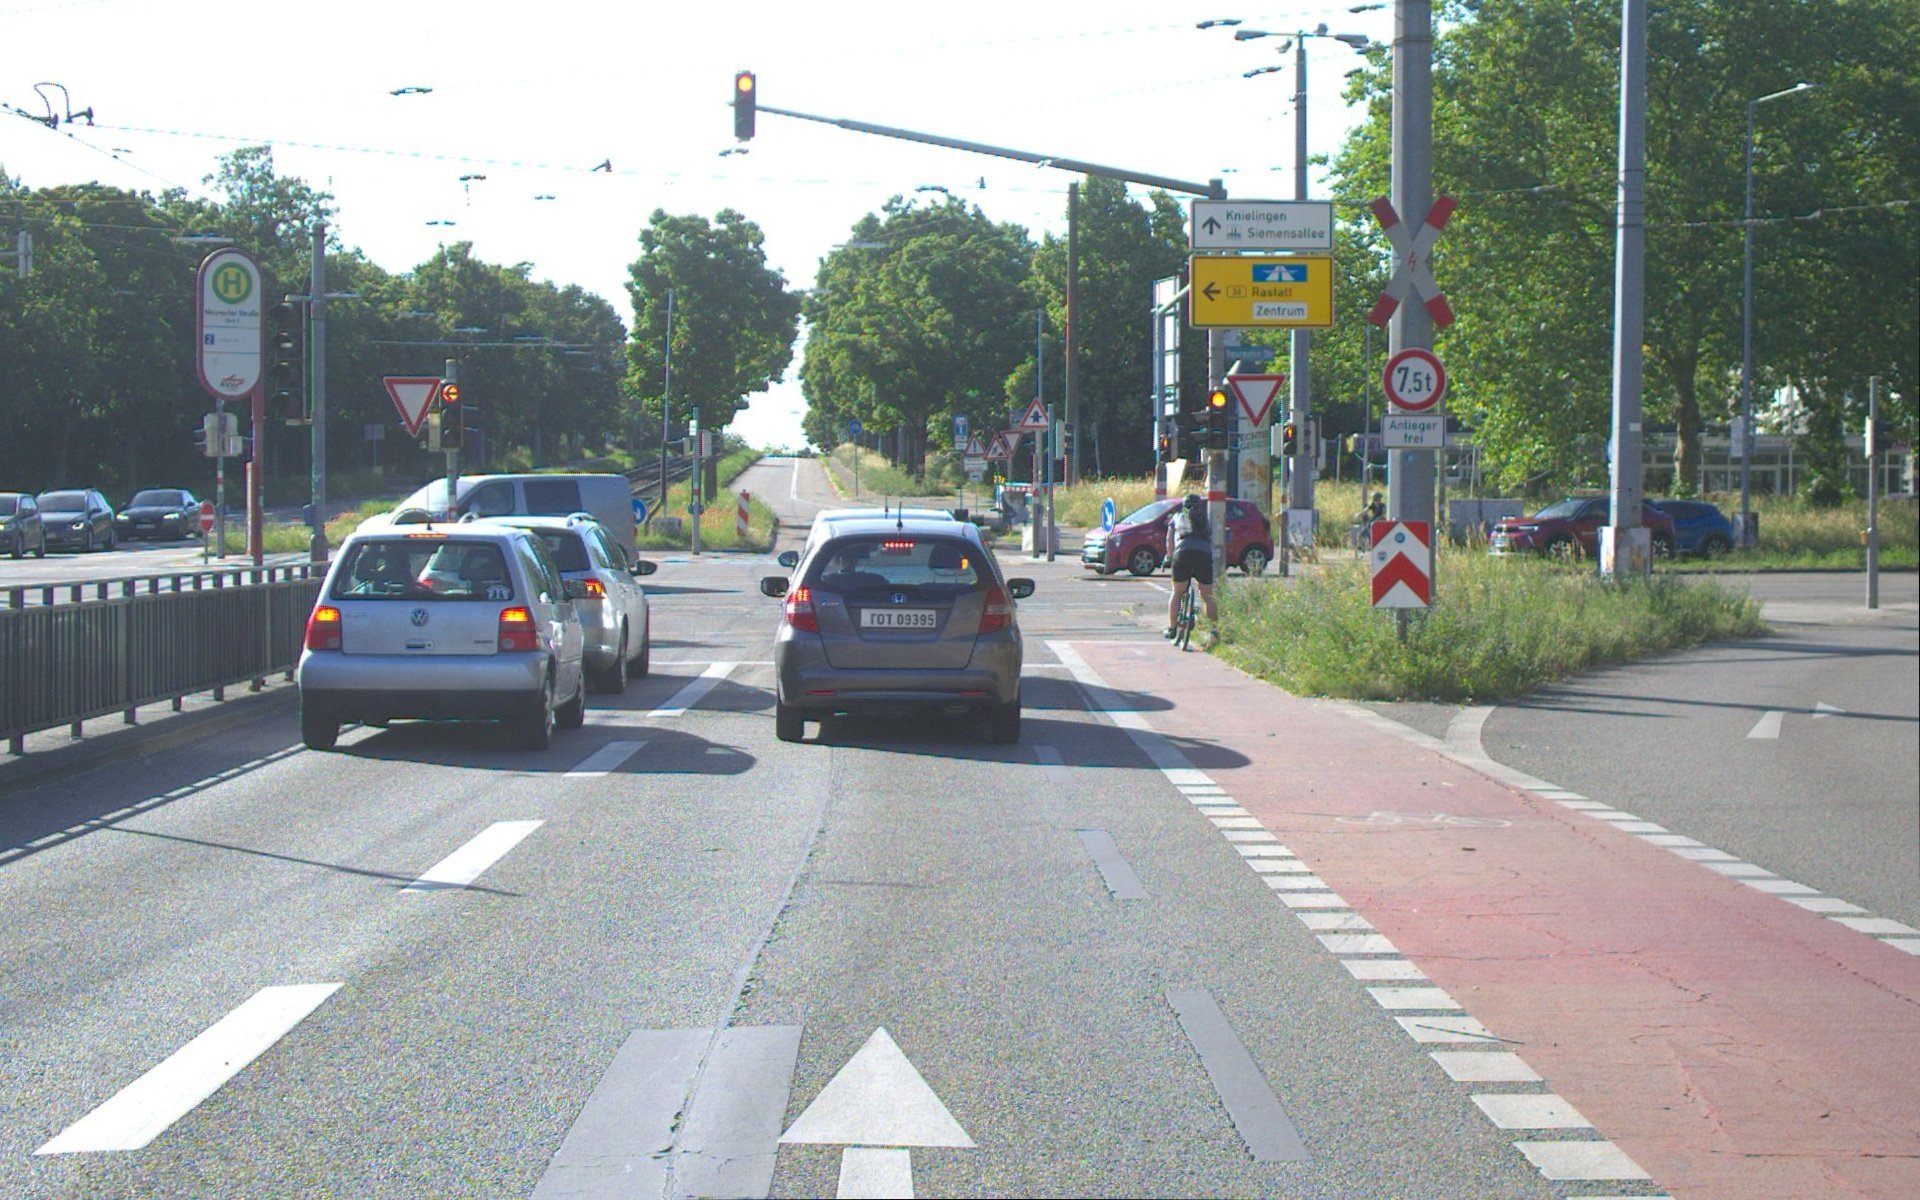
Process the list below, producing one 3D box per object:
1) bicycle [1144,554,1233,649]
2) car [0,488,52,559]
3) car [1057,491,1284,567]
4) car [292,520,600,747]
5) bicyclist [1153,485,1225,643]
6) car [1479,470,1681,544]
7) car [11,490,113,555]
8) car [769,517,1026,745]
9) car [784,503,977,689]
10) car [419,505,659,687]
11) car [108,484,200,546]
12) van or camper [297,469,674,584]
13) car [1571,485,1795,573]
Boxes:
[{"bbox_3d":[2.528,0.000,38.303,0.722,0.985,2.876,2,1,-1],"label":"bicycle"},{"bbox_3d":[-21.633,-1.732,77.282,1.832,1.543,4.001,0,2,-7],"label":"car"},{"bbox_3d":[3.996,-1.360,65.247,4.002,1.398,1.610,-1,2,-23],"label":"car"},{"bbox_3d":[-3.399,0.177,23.247,1.619,1.413,3.351,0,1,-1],"label":"car"},{"bbox_3d":[2.541,-0.403,38.214,0.666,1.710,0.948,2,1,-1],"label":"bicyclist"},{"bbox_3d":[13.135,-1.991,72.831,3.986,1.525,1.606,-1,2,-23],"label":"car"},{"bbox_3d":[-21.817,-1.894,83.661,1.832,1.543,4.286,0,2,-7],"label":"car"},{"bbox_3d":[-0.484,0.161,24.234,1.668,1.457,3.587,0,2,-2],"label":"car"},{"bbox_3d":[-0.699,-0.089,31.071,1.611,1.557,4.288,0,1,-1],"label":"car"},{"bbox_3d":[-3.600,-0.073,29.966,1.619,1.452,4.085,1,1,-1],"label":"car"},{"bbox_3d":[-22.041,-2.343,94.150,1.993,1.599,4.757,1,2,-8],"label":"car"},{"bbox_3d":[-7.849,-1.249,57.277,5.969,1.822,2.000,-1,2,-35],"label":"van or camper"},{"bbox_3d":[16.670,-1.636,79.297,4.686,1.873,2.001,1,1,-23],"label":"car"}]
